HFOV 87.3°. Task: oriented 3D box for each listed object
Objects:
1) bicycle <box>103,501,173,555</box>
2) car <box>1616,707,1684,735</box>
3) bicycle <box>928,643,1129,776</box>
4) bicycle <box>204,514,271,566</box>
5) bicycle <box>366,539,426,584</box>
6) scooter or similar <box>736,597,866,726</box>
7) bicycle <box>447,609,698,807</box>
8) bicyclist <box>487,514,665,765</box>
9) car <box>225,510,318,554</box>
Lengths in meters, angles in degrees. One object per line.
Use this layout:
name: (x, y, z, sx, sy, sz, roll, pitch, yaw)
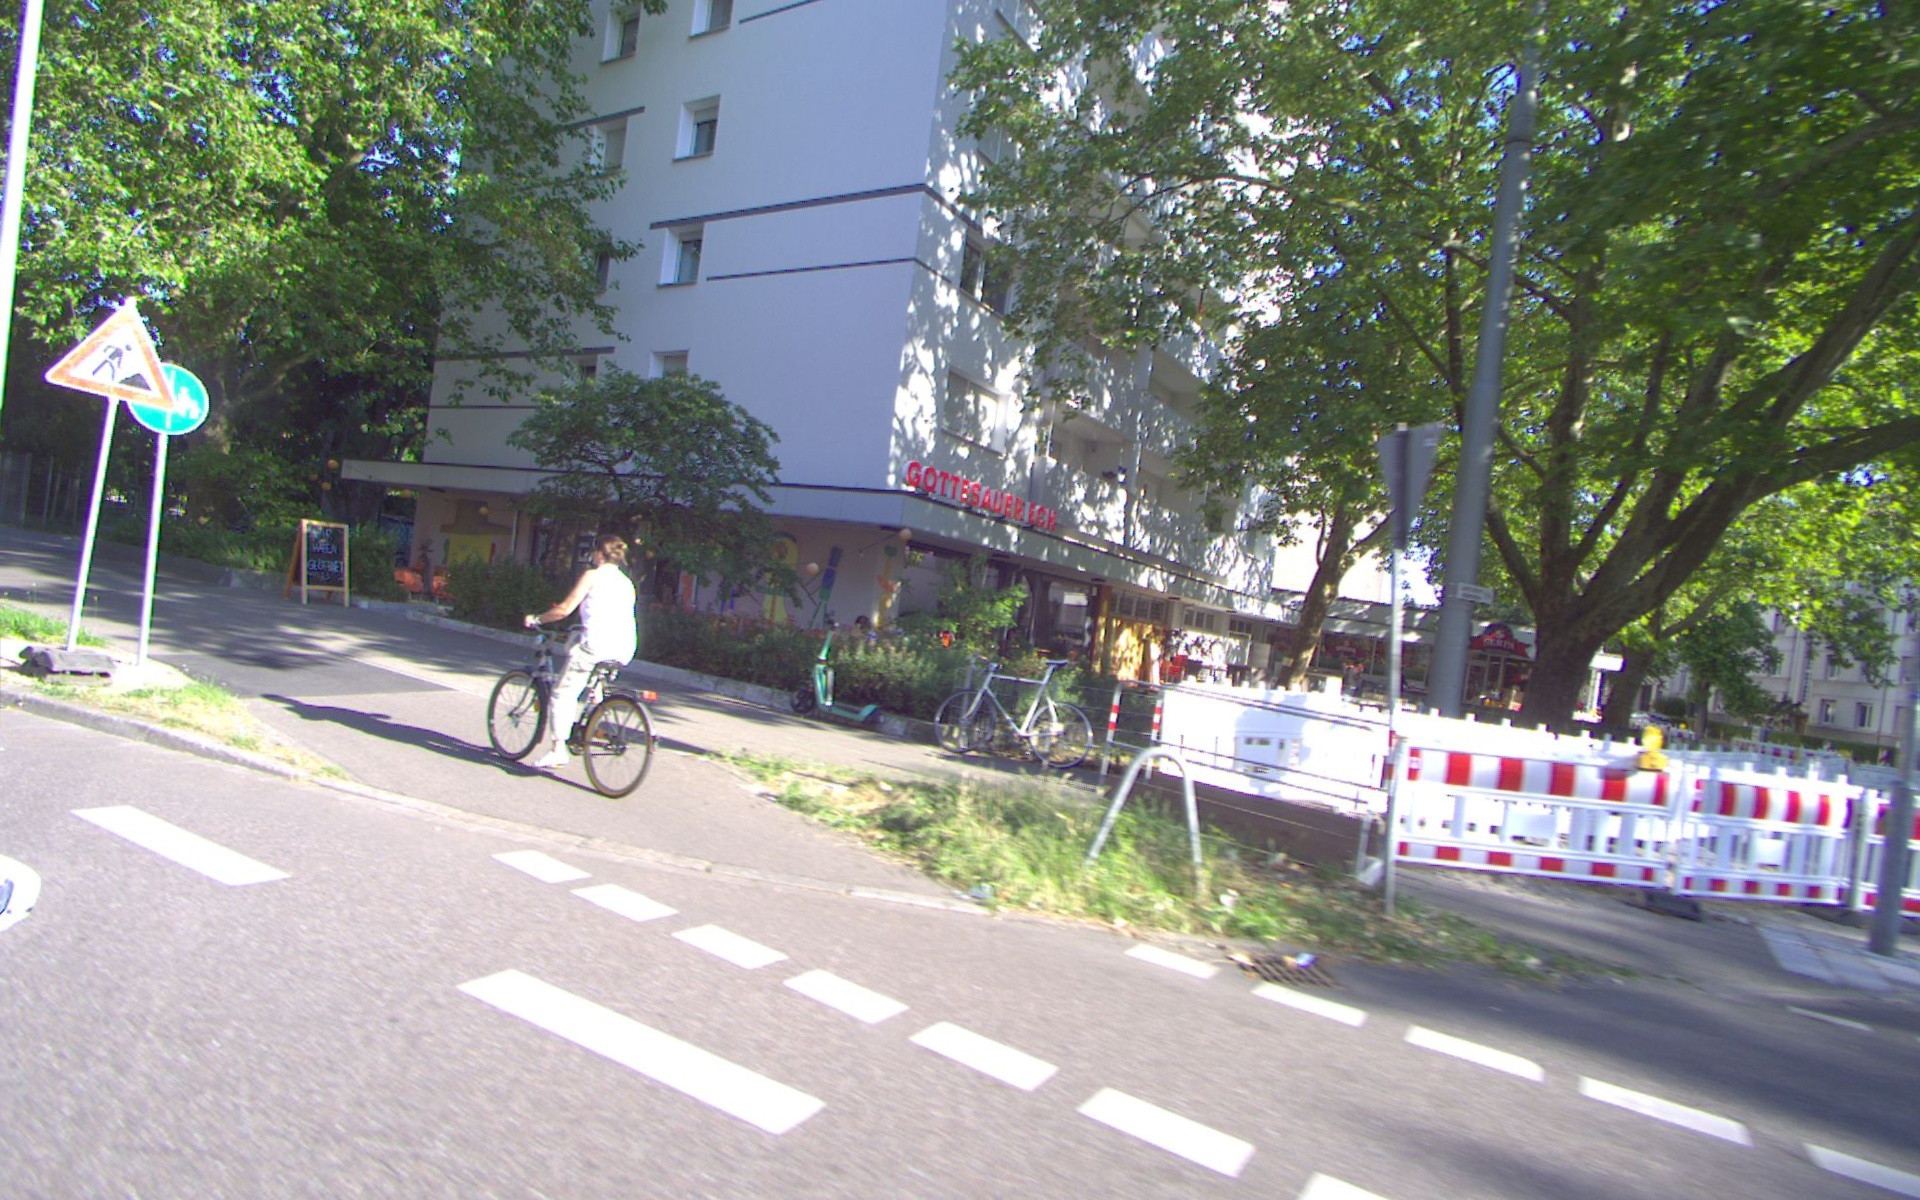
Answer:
bicycle: (-21.653, -1.900, 26.494, 1.791, 1.191, 0.790, 7, -2, 33)
car: (45.124, 7.895, 65.908, 1.899, 1.376, 4.445, 8, -2, 11)
bicycle: (0.700, 1.123, 10.501, 1.917, 1.039, 0.605, 9, 1, 1)
bicycle: (-20.303, -1.690, 28.261, 1.791, 1.191, 0.790, 7, -2, 33)
bicycle: (-17.955, -1.235, 32.036, 1.791, 1.191, 0.790, 7, -2, 33)
scooter or similar: (-1.805, 0.681, 11.399, 1.268, 1.273, 0.561, 7, 1, 30)
bicycle: (-2.698, 0.696, 6.928, 1.737, 1.039, 0.604, 7, 0, 32)
bicyclist: (-2.641, 0.262, 6.924, 0.846, 1.570, 0.604, 7, 0, 32)
car: (-32.841, -3.232, 47.976, 3.932, 1.469, 1.999, 7, -2, 30)
